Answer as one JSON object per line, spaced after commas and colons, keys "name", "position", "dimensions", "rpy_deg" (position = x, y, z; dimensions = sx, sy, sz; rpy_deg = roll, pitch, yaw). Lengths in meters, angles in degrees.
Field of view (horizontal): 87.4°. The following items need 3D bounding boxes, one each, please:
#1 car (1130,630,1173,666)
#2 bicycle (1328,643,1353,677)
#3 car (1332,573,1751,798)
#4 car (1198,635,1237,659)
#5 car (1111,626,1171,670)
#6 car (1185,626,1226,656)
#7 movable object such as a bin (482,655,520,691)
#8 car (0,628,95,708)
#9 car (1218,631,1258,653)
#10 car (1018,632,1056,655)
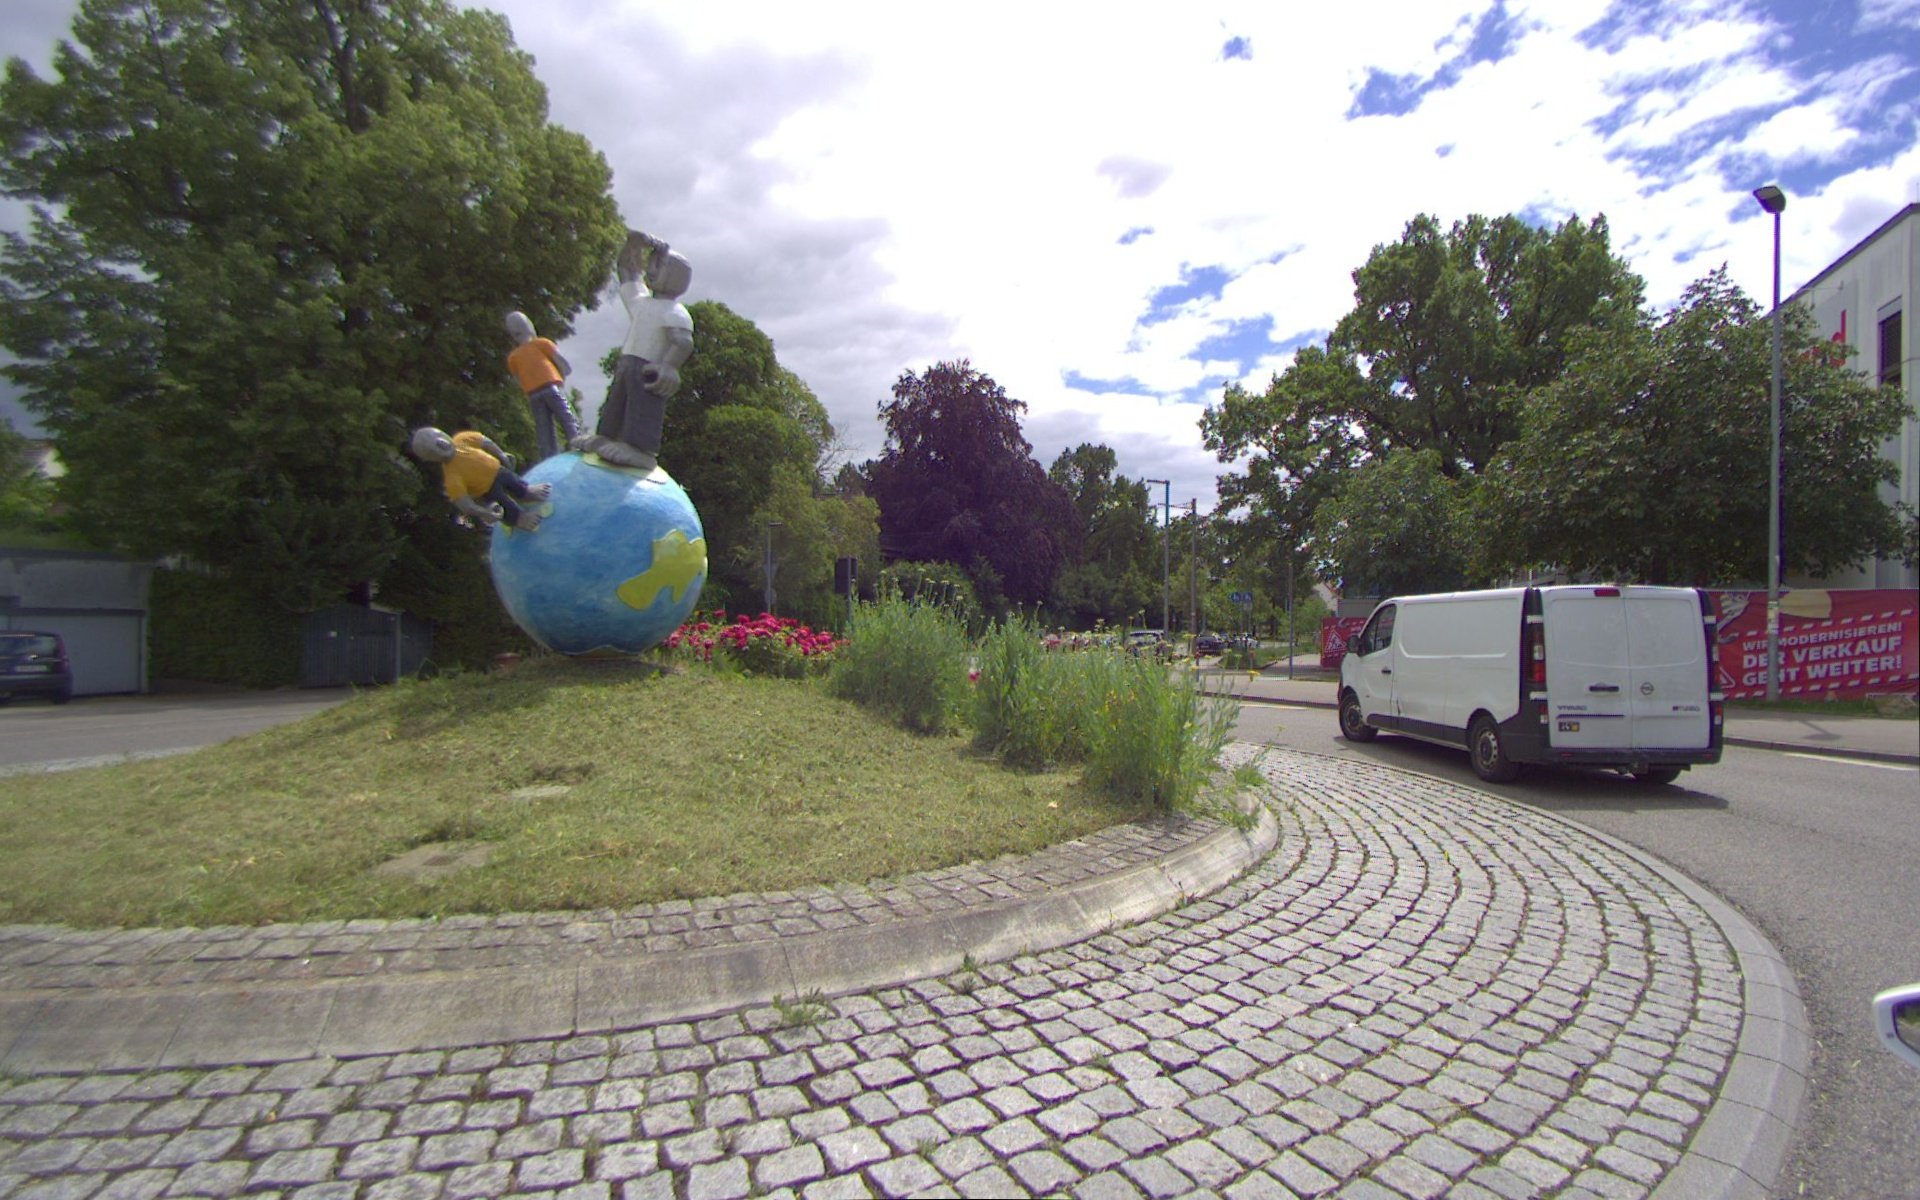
{"name": "car", "position": [9.153, 2.262, 47.821], "dimensions": [1.886, 1.520, 3.927], "rpy_deg": [0, 0, 12]}
{"name": "bicycle", "position": [13.942, 2.176, 36.802], "dimensions": [0.620, 1.142, 1.966], "rpy_deg": [2, 0, 27]}
{"name": "car", "position": [6.175, 0.774, 11.574], "dimensions": [2.001, 1.971, 4.994], "rpy_deg": [2, 0, 2]}
{"name": "car", "position": [18.029, 3.249, 70.155], "dimensions": [2.030, 1.496, 3.922], "rpy_deg": [0, 0, 24]}
{"name": "car", "position": [7.311, 1.881, 40.324], "dimensions": [1.900, 1.558, 3.926], "rpy_deg": [0, 0, 17]}
{"name": "car", "position": [15.902, 2.602, 64.883], "dimensions": [1.867, 1.768, 3.922], "rpy_deg": [0, 0, 24]}
{"name": "movable object such as a bin", "position": [-11.500, 1.826, 25.185], "dimensions": [0.621, 0.874, 0.638], "rpy_deg": [-2, -2, 33]}
{"name": "car", "position": [-19.775, 1.366, 20.773], "dimensions": [3.935, 1.505, 1.993], "rpy_deg": [-2, -2, 36]}
{"name": "car", "position": [20.676, 3.099, 74.536], "dimensions": [2.032, 1.520, 3.918], "rpy_deg": [0, 0, 29]}
{"name": "car", "position": [5.353, 2.975, 69.368], "dimensions": [2.027, 1.405, 4.049], "rpy_deg": [0, 0, 13]}
